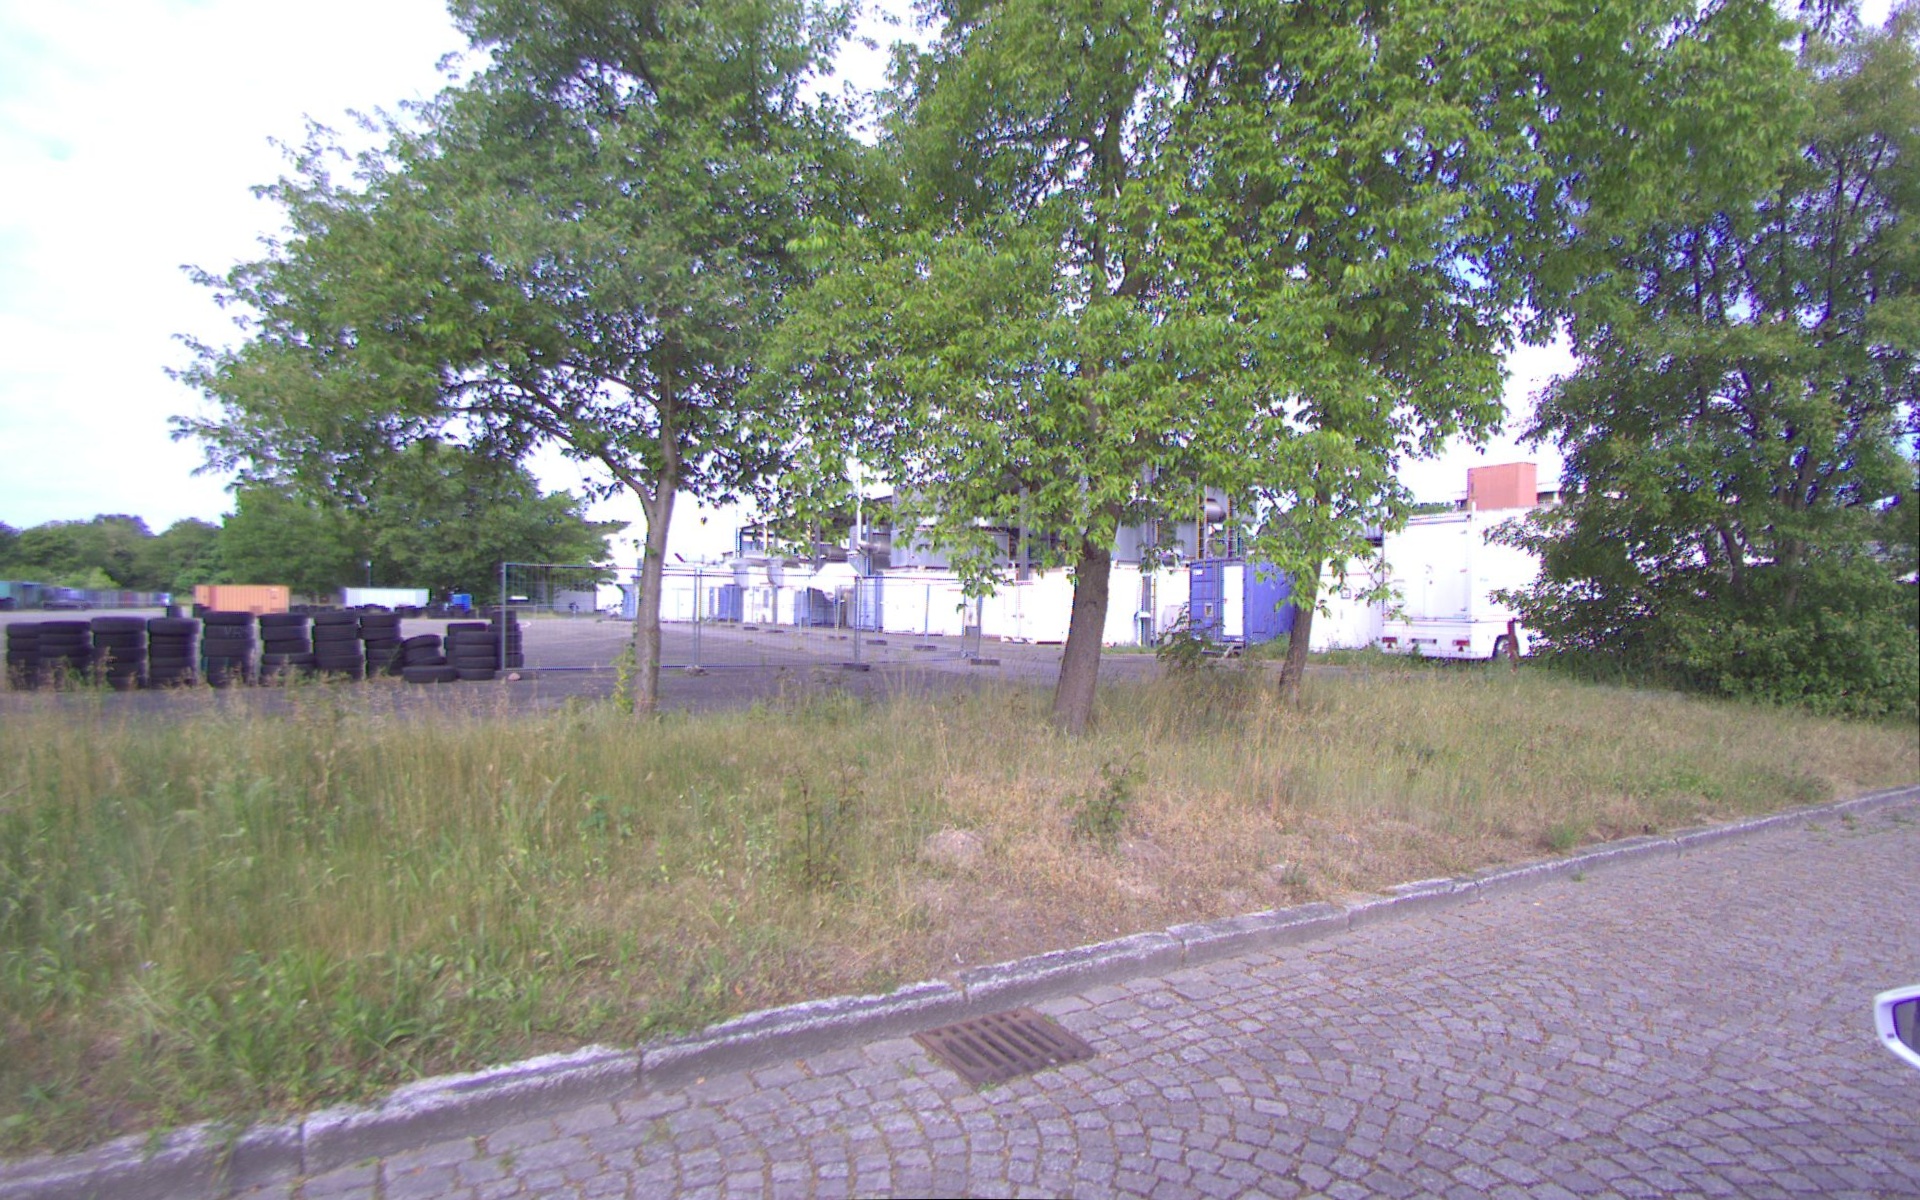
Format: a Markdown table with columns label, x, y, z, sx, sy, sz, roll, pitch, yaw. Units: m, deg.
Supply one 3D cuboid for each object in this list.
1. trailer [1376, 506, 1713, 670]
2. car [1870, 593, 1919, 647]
| label | x | y | z | sx | sy | sz | roll | pitch | yaw |
| --- | --- | --- | --- | --- | --- | --- | --- | --- | --- |
| trailer | 15.753 | -0.192 | 26.677 | 10.587 | 3.755 | 2.646 | 1 | -1 | -28 |
| car | 47.630 | 0.991 | 49.741 | 5.546 | 2.557 | 1.986 | 1 | -1 | -27 |
